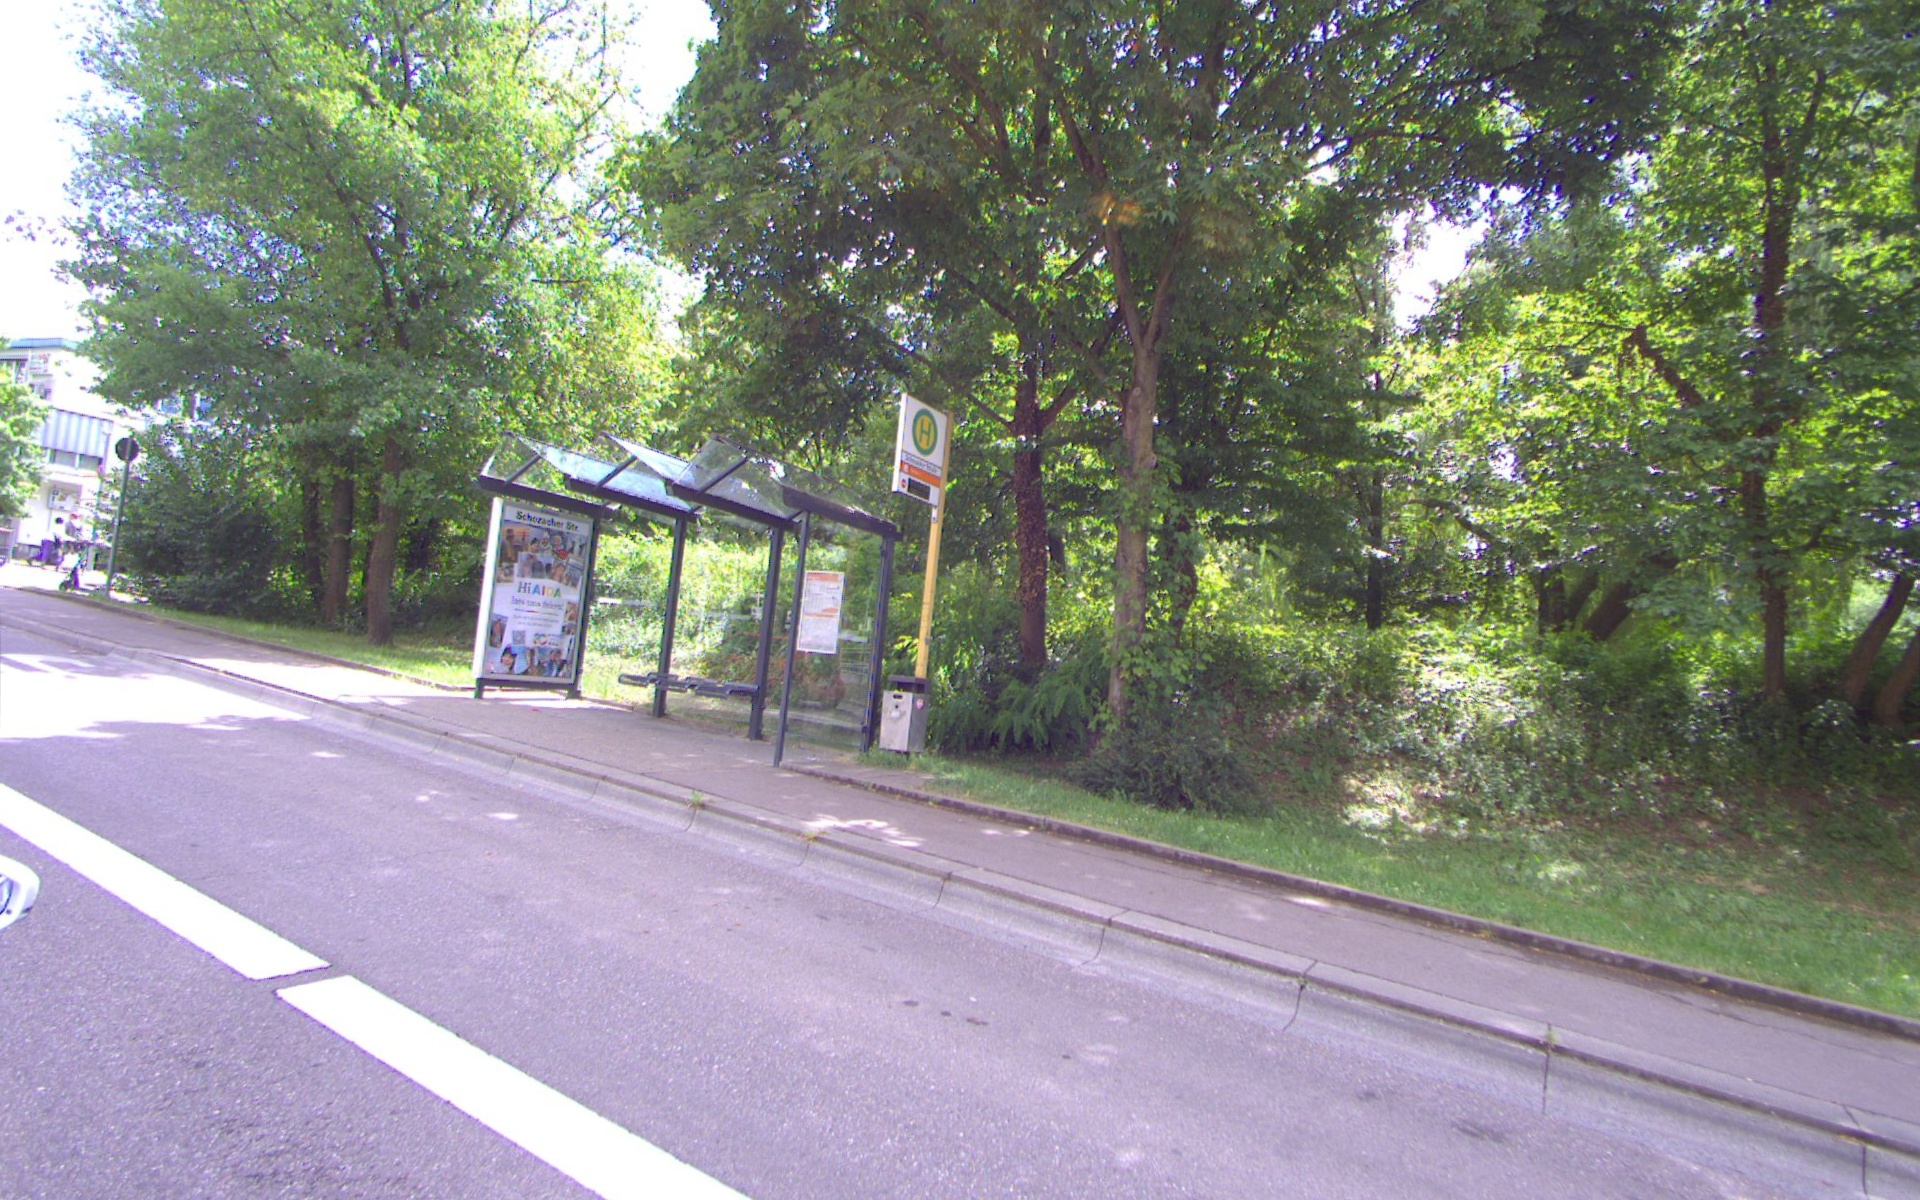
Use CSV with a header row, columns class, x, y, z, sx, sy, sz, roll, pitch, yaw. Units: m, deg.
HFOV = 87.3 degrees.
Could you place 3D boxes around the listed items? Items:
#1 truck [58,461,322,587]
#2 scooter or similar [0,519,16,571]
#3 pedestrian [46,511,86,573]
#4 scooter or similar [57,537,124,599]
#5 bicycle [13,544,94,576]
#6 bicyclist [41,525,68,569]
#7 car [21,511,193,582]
class,x,y,z,sx,sy,sz,roll,pitch,yaw
truck,-28.108,-2.624,37.247,2.559,3.387,7.299,7,-2,19
scooter or similar,-24.934,-1.491,25.574,0.546,1.286,1.153,6,-3,34
pedestrian,-26.554,-1.704,29.886,0.653,1.733,0.458,8,-1,-32
scooter or similar,-20.182,-0.734,23.369,0.447,1.242,0.893,6,-6,32
bicycle,-25.290,-1.116,28.094,1.579,0.616,0.529,10,-3,-39
bicyclist,-25.273,-1.478,28.094,0.396,1.170,0.498,8,-1,-37
car,-32.893,-2.004,38.976,1.964,2.037,4.550,6,-2,24
